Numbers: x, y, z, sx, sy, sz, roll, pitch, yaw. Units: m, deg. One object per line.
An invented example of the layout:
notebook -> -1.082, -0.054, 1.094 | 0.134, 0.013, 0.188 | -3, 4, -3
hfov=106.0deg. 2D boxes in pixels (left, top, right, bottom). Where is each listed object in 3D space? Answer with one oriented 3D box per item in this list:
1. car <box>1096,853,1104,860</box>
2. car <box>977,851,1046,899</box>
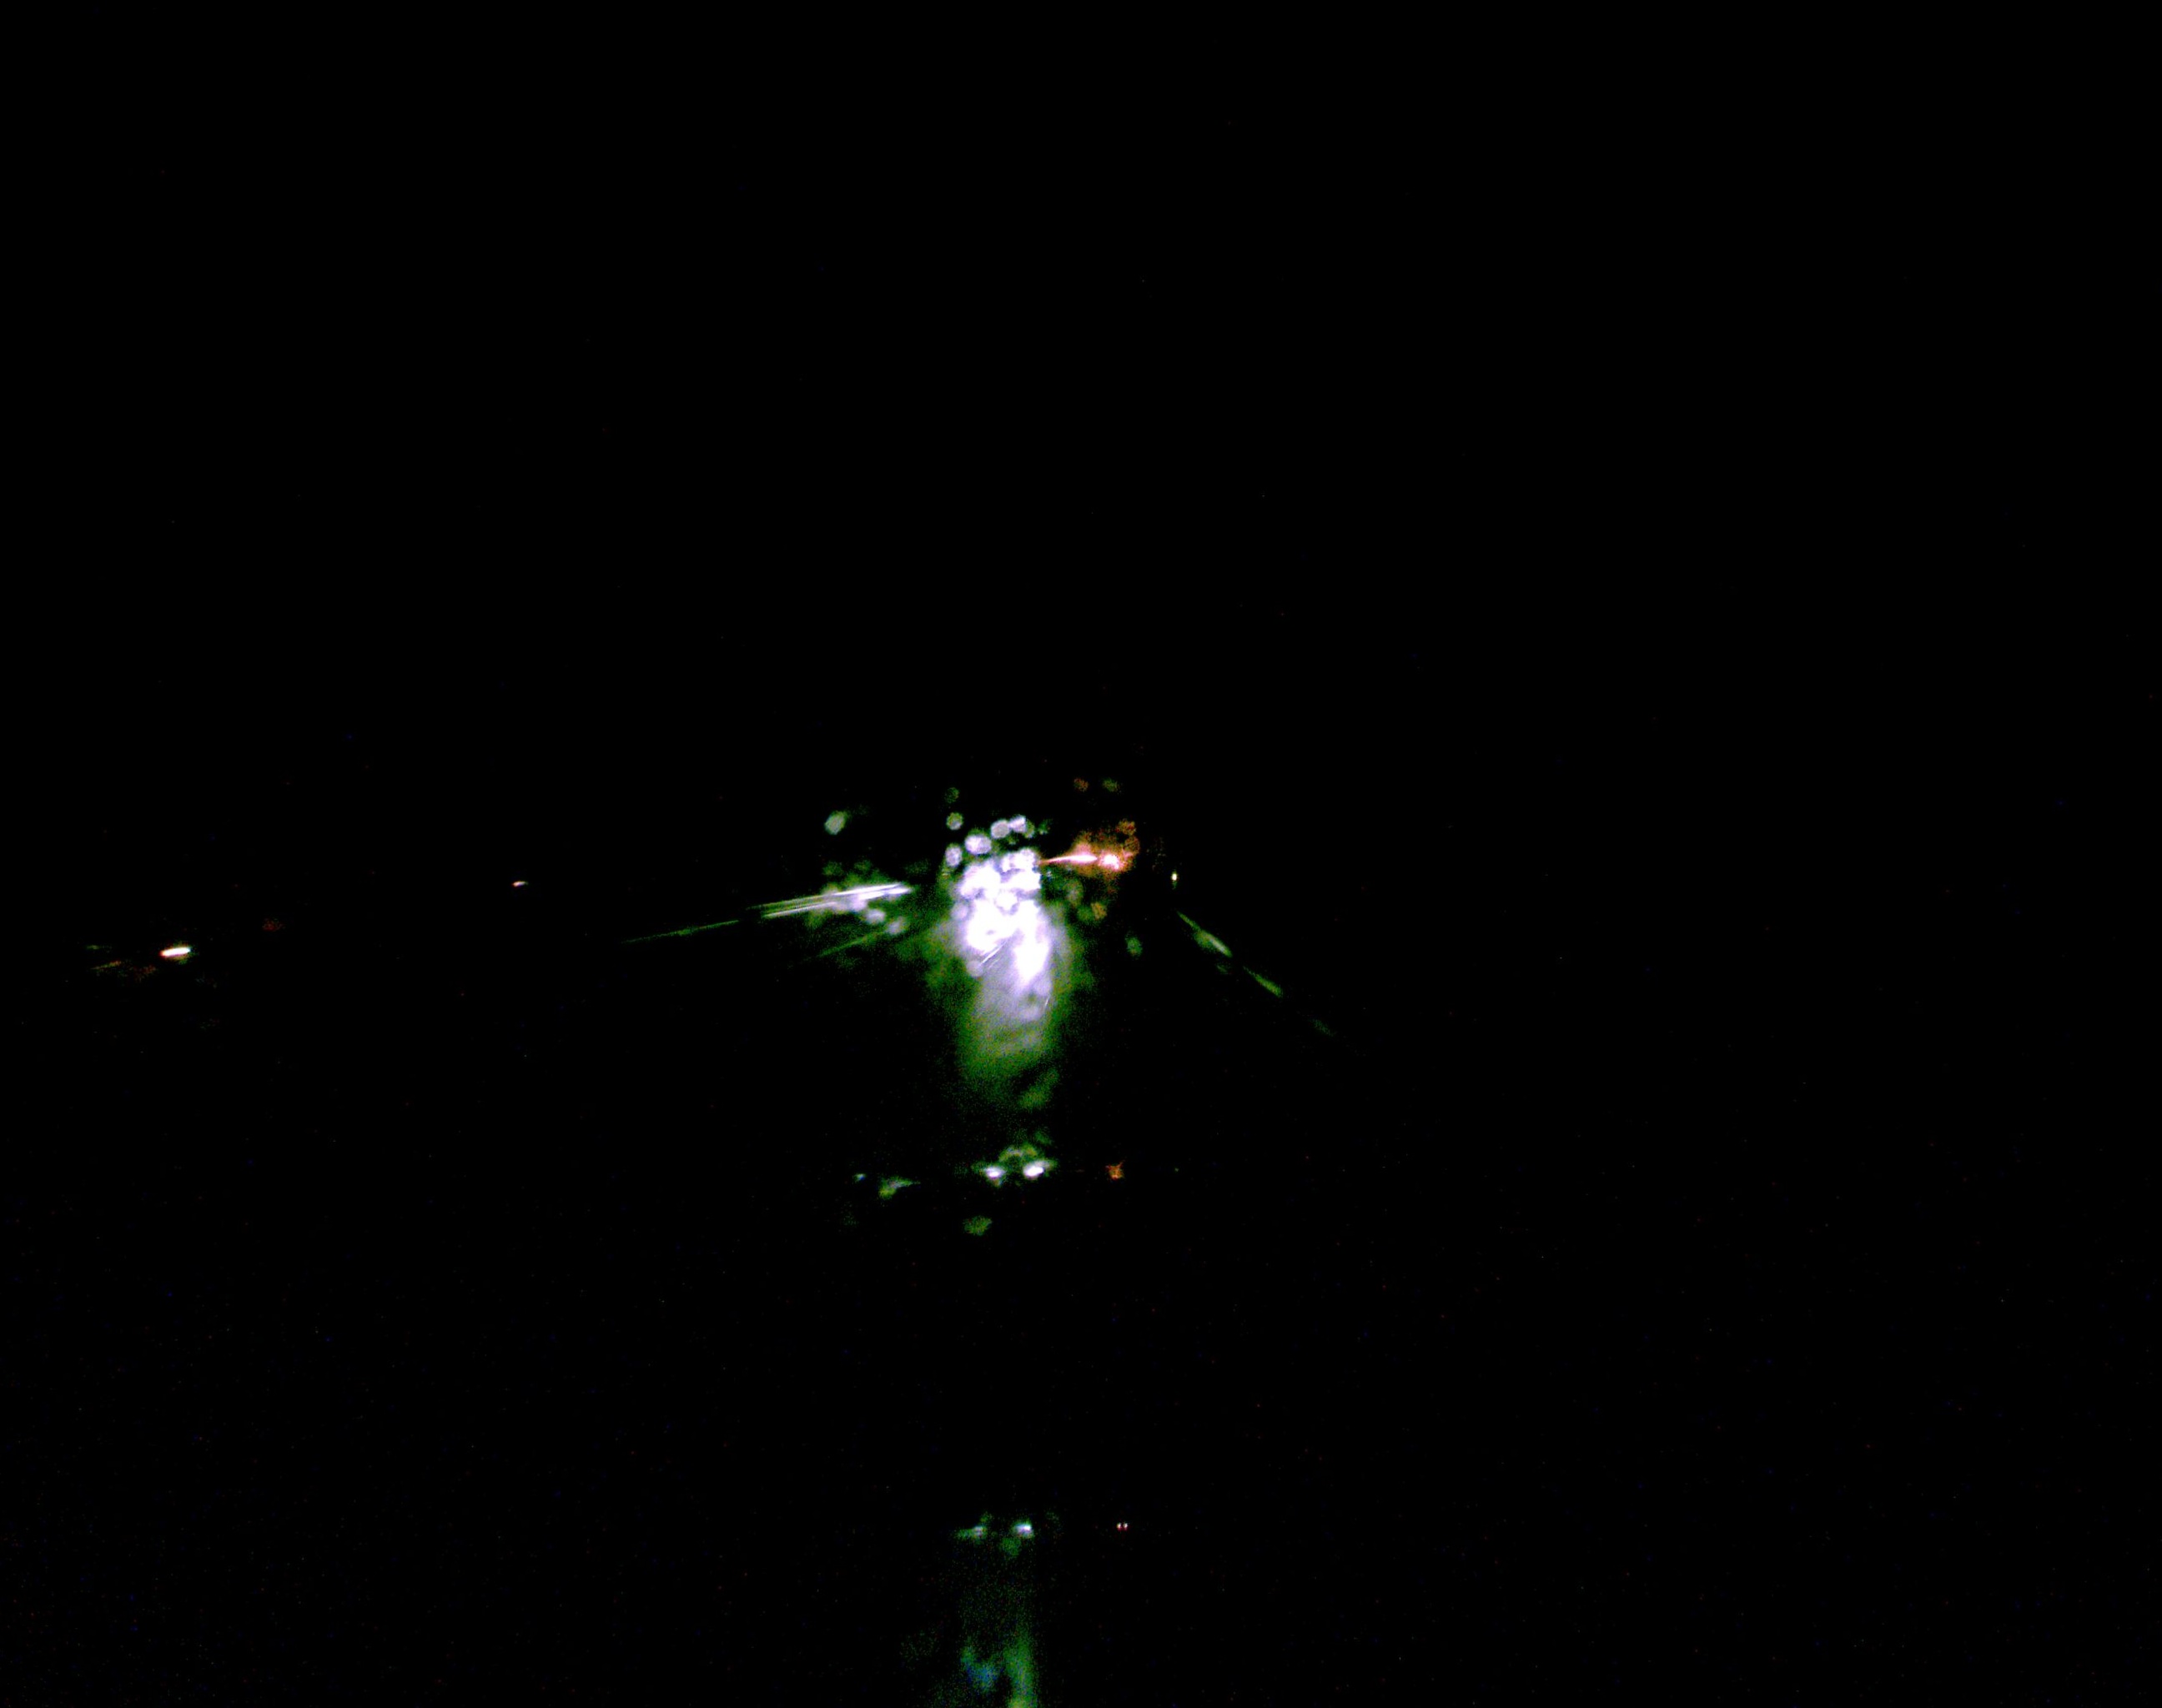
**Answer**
car -> 4.733, 0.533, 204.540 | 1.986, 1.666, 4.001 | -1, 0, 2
car -> -2.546, 0.752, 30.958 | 2.090, 1.639, 4.457 | -2, 0, 1
